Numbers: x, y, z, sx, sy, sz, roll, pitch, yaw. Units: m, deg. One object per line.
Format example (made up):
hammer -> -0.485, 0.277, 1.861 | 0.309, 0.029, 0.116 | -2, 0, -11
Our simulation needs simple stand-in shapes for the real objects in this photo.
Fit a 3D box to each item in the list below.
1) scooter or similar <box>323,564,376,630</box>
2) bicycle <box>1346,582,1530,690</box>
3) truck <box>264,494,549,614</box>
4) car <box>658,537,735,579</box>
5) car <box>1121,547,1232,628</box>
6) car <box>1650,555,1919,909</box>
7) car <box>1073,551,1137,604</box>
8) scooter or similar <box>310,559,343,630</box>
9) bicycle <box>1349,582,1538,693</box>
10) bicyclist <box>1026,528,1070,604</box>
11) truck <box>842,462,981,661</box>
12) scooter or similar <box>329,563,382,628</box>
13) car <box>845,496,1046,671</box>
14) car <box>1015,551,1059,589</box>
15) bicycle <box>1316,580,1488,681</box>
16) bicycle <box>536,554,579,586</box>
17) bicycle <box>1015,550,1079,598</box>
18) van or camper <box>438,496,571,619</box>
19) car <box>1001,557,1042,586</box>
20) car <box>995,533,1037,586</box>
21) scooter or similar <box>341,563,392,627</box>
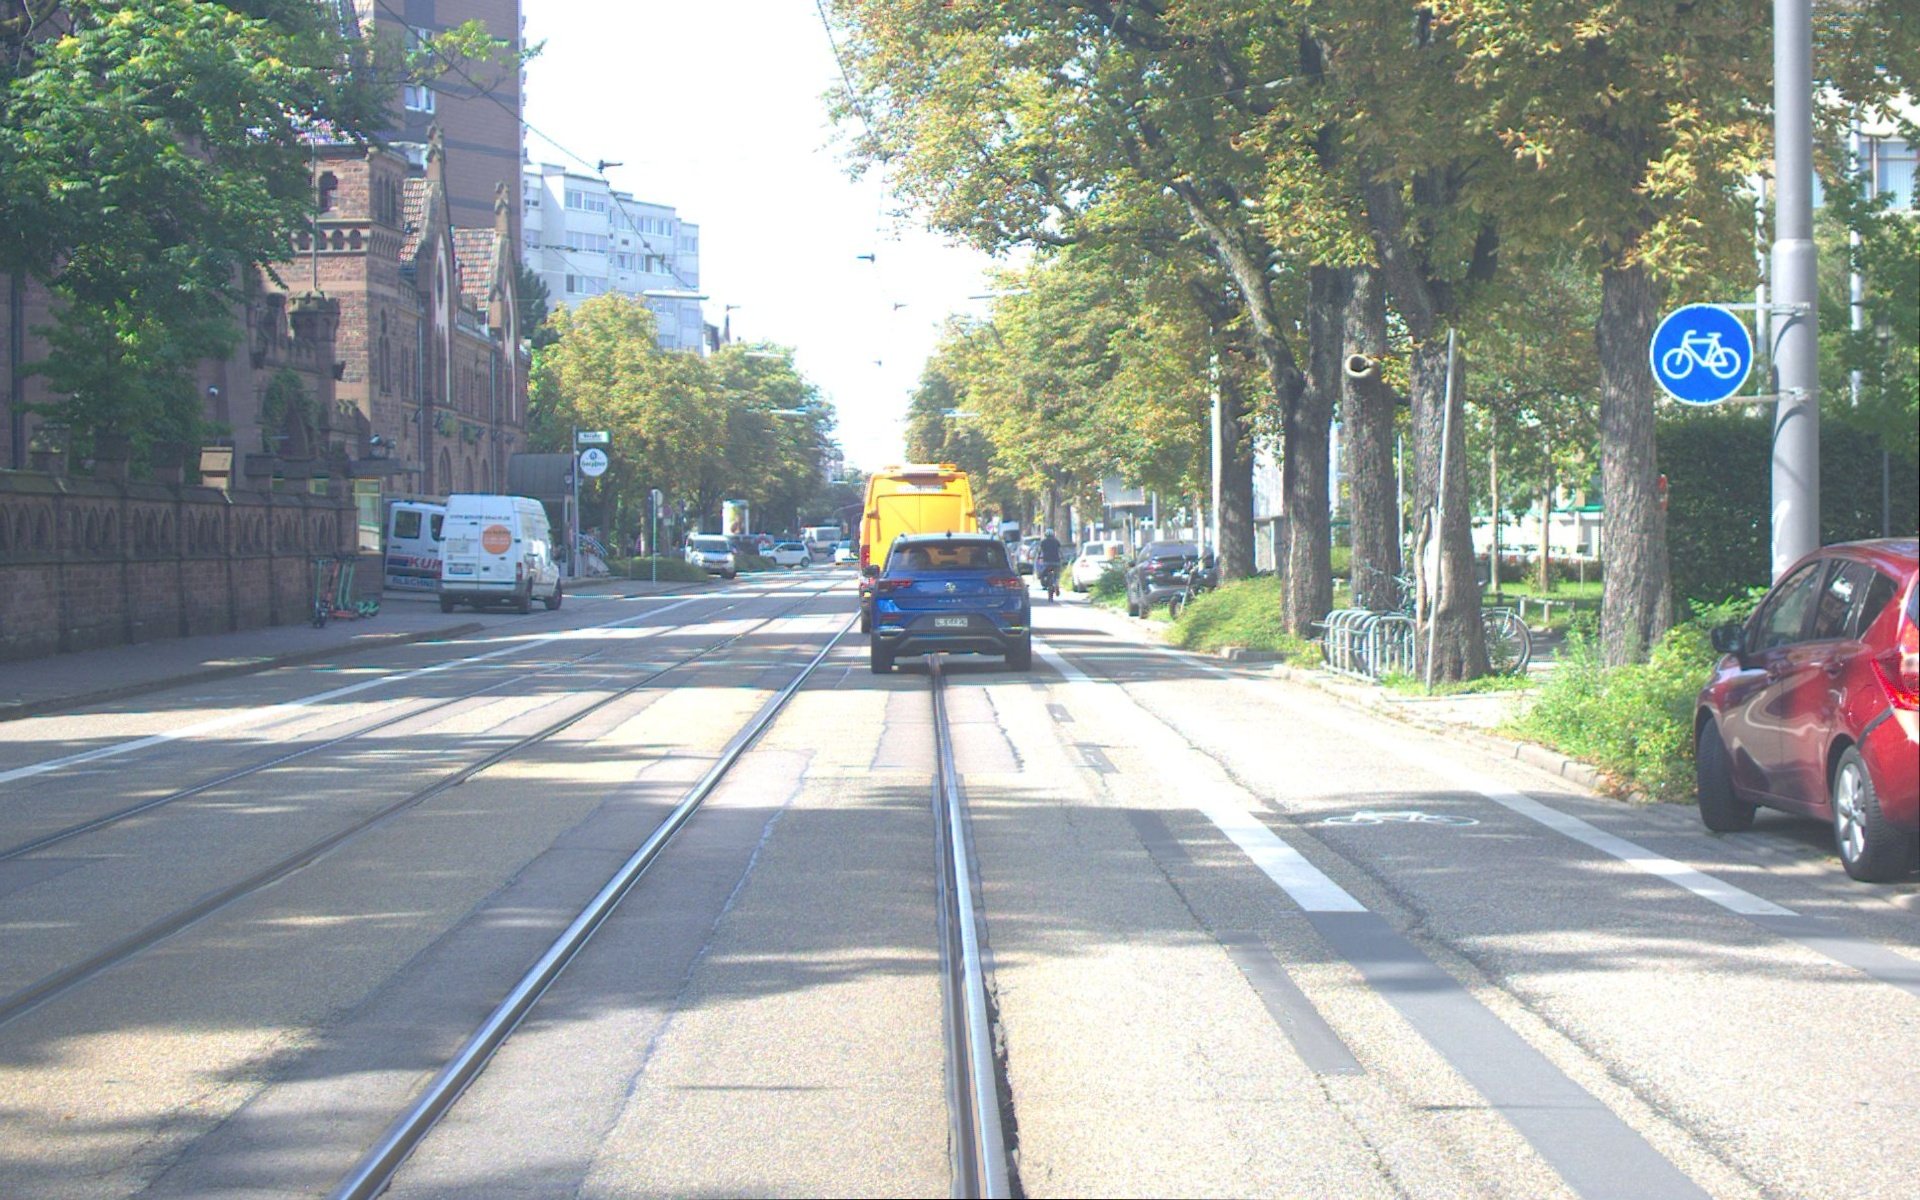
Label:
scooter or similar -> -10.990, -0.066, 61.921 | 0.340, 1.174, 1.176 | 0, 1, 25
bicycle -> 4.843, 0.361, 34.895 | 1.771, 1.046, 0.541 | -1, 1, -1
truck -> -13.271, -1.131, 82.623 | 6.321, 2.529, 2.130 | 3, 2, 5
car -> -11.223, -1.782, 146.264 | 1.747, 1.790, 4.000 | 0, 1, -29
car -> 4.278, -0.264, 68.510 | 1.756, 1.510, 4.610 | -1, 1, -2
car -> 4.677, 0.528, 16.646 | 1.755, 1.457, 4.275 | -1, 1, -1
car -> 4.169, -0.661, 99.390 | 1.659, 1.476, 4.217 | -1, 0, 0
scooter or similar -> -10.620, -0.097, 57.619 | 0.420, 1.174, 1.317 | 0, 1, -16
bicycle -> 4.806, 0.370, 34.217 | 1.771, 1.046, 0.541 | -1, 1, -1
bicyclist -> 2.123, -0.816, 82.860 | 1.031, 1.806, 1.016 | 0, 1, 0
truck -> -0.783, -0.646, 57.410 | 2.135, 3.114, 6.085 | -1, 1, 0
scooter or similar -> -11.089, -0.082, 63.093 | 0.340, 1.174, 1.176 | 0, 1, 25
car -> -0.172, -0.211, 39.847 | 2.135, 1.852, 5.568 | -1, 1, 0
car -> 3.400, -1.334, 152.514 | 1.740, 1.662, 4.362 | 0, 1, -1
bicycle -> 4.802, 0.327, 37.375 | 1.771, 1.046, 0.541 | -1, 1, -1
bicycle -> -14.702, -1.084, 125.586 | 1.451, 1.089, 0.399 | 3, 0, -4
bicycle -> 2.087, -0.644, 82.861 | 1.401, 1.130, 4.000 | 0, 1, -1
van or camper -> -10.246, -0.969, 77.780 | 2.113, 2.666, 5.955 | 0, 1, 1
car -> 3.089, -1.431, 173.036 | 1.908, 1.427, 4.293 | 0, 1, -1
car -> 2.988, -2.167, 183.622 | 1.993, 2.746, 5.761 | 0, 1, -1
scooter or similar -> -11.084, -0.097, 64.227 | 0.340, 1.174, 1.176 | 0, 1, 25
